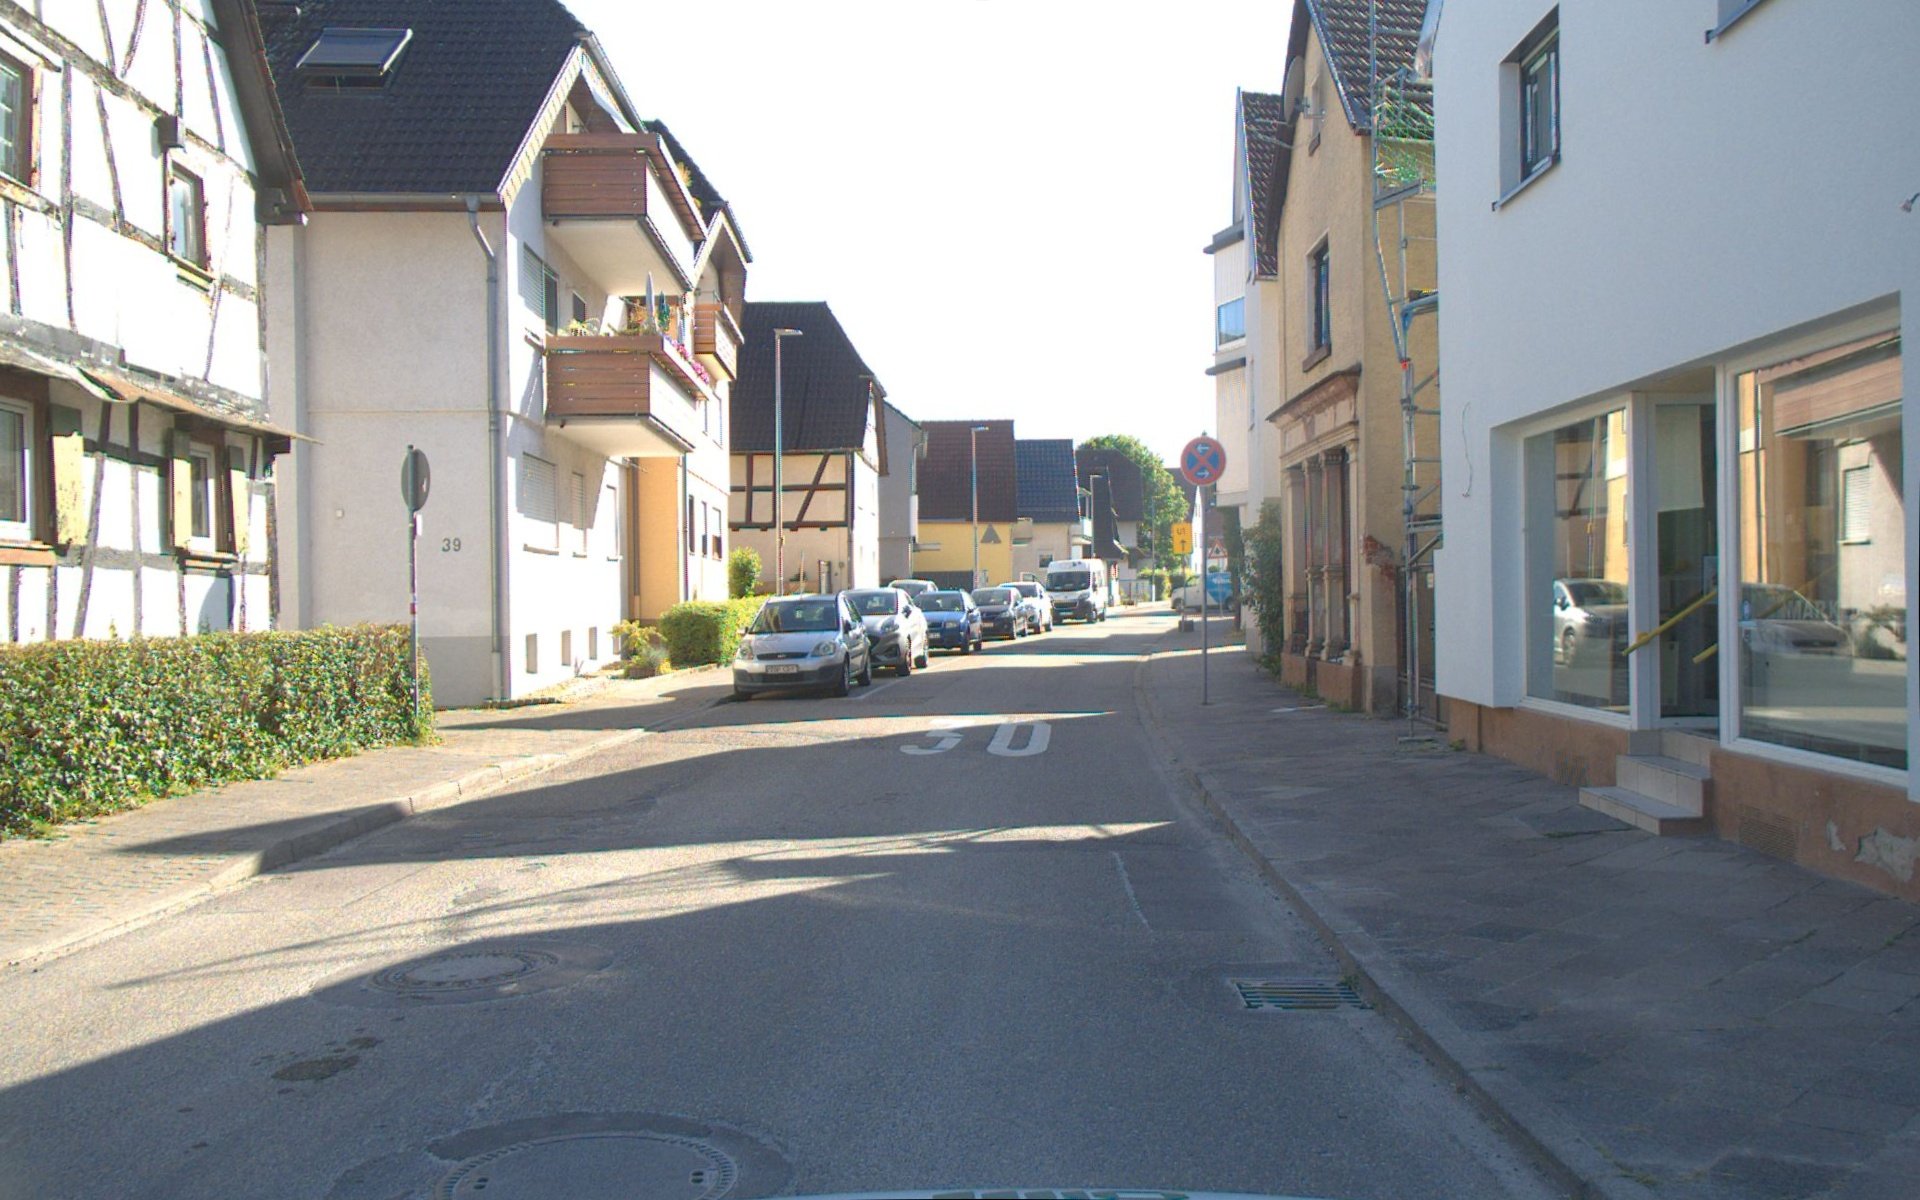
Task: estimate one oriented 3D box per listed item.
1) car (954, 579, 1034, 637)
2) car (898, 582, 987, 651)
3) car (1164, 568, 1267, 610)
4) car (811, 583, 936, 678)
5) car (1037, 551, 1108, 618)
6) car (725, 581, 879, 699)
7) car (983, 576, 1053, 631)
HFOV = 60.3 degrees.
[{"bbox_3d":[1.041,0.198,48.515,1.667,1.545,4.125,-3,0,10],"label":"car"},{"bbox_3d":[-0.359,0.358,38.907,1.604,1.466,4.078,-2,0,6],"label":"car"},{"bbox_3d":[12.459,-0.504,80.911,4.698,1.833,1.914,-2,1,44],"label":"car"},{"bbox_3d":[-1.504,0.500,30.149,1.638,1.532,4.097,-2,1,5],"label":"car"},{"bbox_3d":[4.490,-0.627,65.416,2.032,2.436,5.213,-3,0,11],"label":"car"},{"bbox_3d":[-2.292,0.541,24.956,1.597,1.532,3.855,-3,1,4],"label":"car"},{"bbox_3d":[1.888,0.086,52.724,1.638,1.599,3.969,-3,0,10],"label":"car"}]
